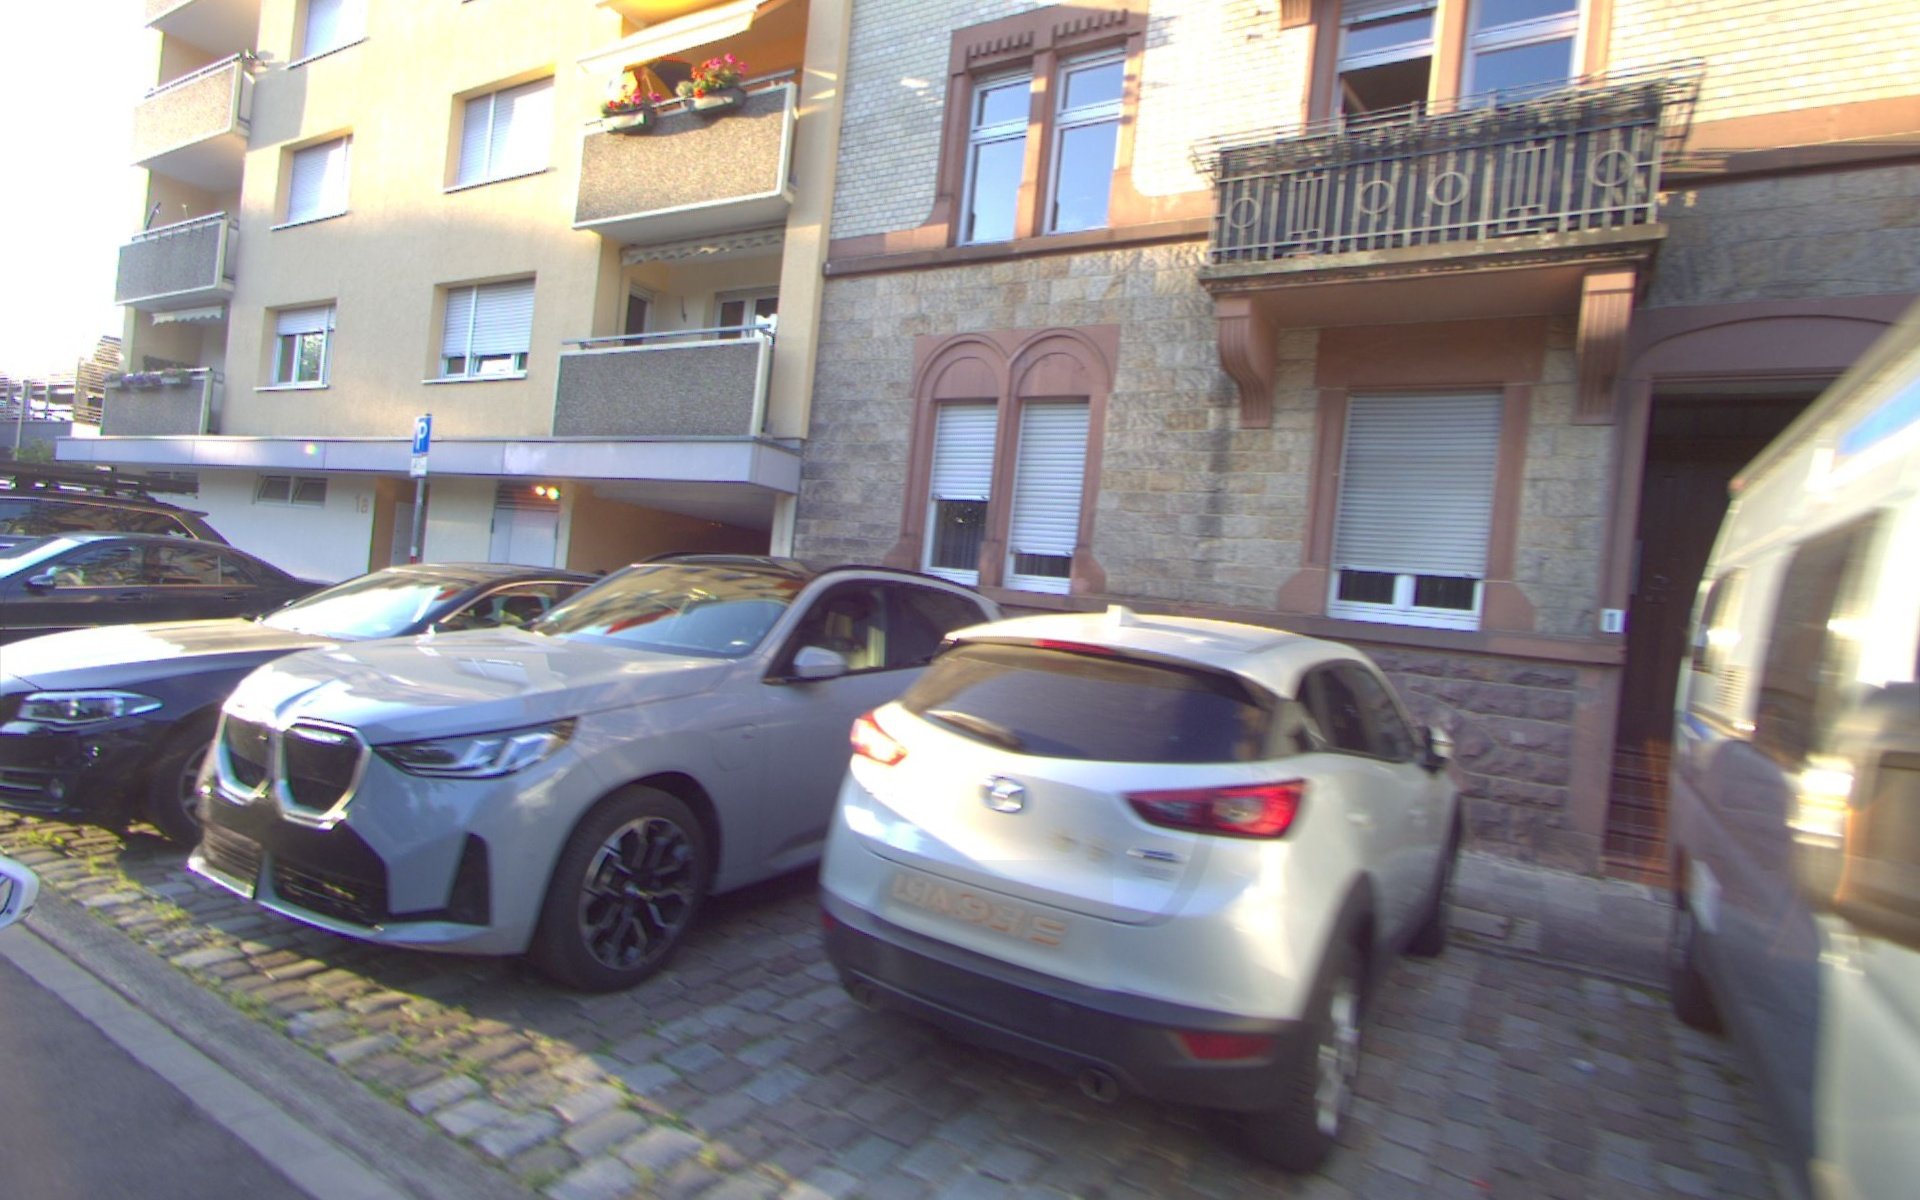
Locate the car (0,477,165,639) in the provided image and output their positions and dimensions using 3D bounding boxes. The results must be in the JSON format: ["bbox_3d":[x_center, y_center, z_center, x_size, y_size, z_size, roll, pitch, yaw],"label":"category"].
[{"bbox_3d":[-13.210,-0.624,12.652,1.815,2.005,4.641,3,-1,31],"label":"car"}]

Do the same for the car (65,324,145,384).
[{"bbox_3d":[-41.638,-11.930,48.955,3.940,2.037,1.994,5,-2,37],"label":"car"}]

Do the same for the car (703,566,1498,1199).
[{"bbox_3d":[1.166,0.844,4.539,1.816,1.639,4.404,3,-1,33],"label":"car"}]

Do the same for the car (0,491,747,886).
[{"bbox_3d":[-3.523,0.421,6.392,1.814,1.573,4.412,3,-1,27],"label":"car"}]

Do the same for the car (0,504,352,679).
[{"bbox_3d":[-8.955,-0.072,10.174,1.817,1.573,4.405,3,-1,33],"label":"car"}]

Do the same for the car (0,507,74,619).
[{"bbox_3d":[-15.243,-0.662,13.677,1.815,1.582,4.408,3,-1,31],"label":"car"}]

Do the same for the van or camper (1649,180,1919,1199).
[{"bbox_3d":[3.171,0.550,2.353,2.016,2.536,6.063,6,0,31],"label":"van or camper"}]

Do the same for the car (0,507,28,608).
[{"bbox_3d":[-17.203,-0.840,15.061,1.815,1.612,4.408,3,-1,31],"label":"car"}]

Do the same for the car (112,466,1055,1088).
[{"bbox_3d":[-1.265,0.577,5.239,1.815,1.770,4.410,3,-1,29],"label":"car"}]

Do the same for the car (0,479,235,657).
[{"bbox_3d":[-11.083,-0.423,11.156,1.815,1.886,4.517,5,0,31],"label":"car"}]
